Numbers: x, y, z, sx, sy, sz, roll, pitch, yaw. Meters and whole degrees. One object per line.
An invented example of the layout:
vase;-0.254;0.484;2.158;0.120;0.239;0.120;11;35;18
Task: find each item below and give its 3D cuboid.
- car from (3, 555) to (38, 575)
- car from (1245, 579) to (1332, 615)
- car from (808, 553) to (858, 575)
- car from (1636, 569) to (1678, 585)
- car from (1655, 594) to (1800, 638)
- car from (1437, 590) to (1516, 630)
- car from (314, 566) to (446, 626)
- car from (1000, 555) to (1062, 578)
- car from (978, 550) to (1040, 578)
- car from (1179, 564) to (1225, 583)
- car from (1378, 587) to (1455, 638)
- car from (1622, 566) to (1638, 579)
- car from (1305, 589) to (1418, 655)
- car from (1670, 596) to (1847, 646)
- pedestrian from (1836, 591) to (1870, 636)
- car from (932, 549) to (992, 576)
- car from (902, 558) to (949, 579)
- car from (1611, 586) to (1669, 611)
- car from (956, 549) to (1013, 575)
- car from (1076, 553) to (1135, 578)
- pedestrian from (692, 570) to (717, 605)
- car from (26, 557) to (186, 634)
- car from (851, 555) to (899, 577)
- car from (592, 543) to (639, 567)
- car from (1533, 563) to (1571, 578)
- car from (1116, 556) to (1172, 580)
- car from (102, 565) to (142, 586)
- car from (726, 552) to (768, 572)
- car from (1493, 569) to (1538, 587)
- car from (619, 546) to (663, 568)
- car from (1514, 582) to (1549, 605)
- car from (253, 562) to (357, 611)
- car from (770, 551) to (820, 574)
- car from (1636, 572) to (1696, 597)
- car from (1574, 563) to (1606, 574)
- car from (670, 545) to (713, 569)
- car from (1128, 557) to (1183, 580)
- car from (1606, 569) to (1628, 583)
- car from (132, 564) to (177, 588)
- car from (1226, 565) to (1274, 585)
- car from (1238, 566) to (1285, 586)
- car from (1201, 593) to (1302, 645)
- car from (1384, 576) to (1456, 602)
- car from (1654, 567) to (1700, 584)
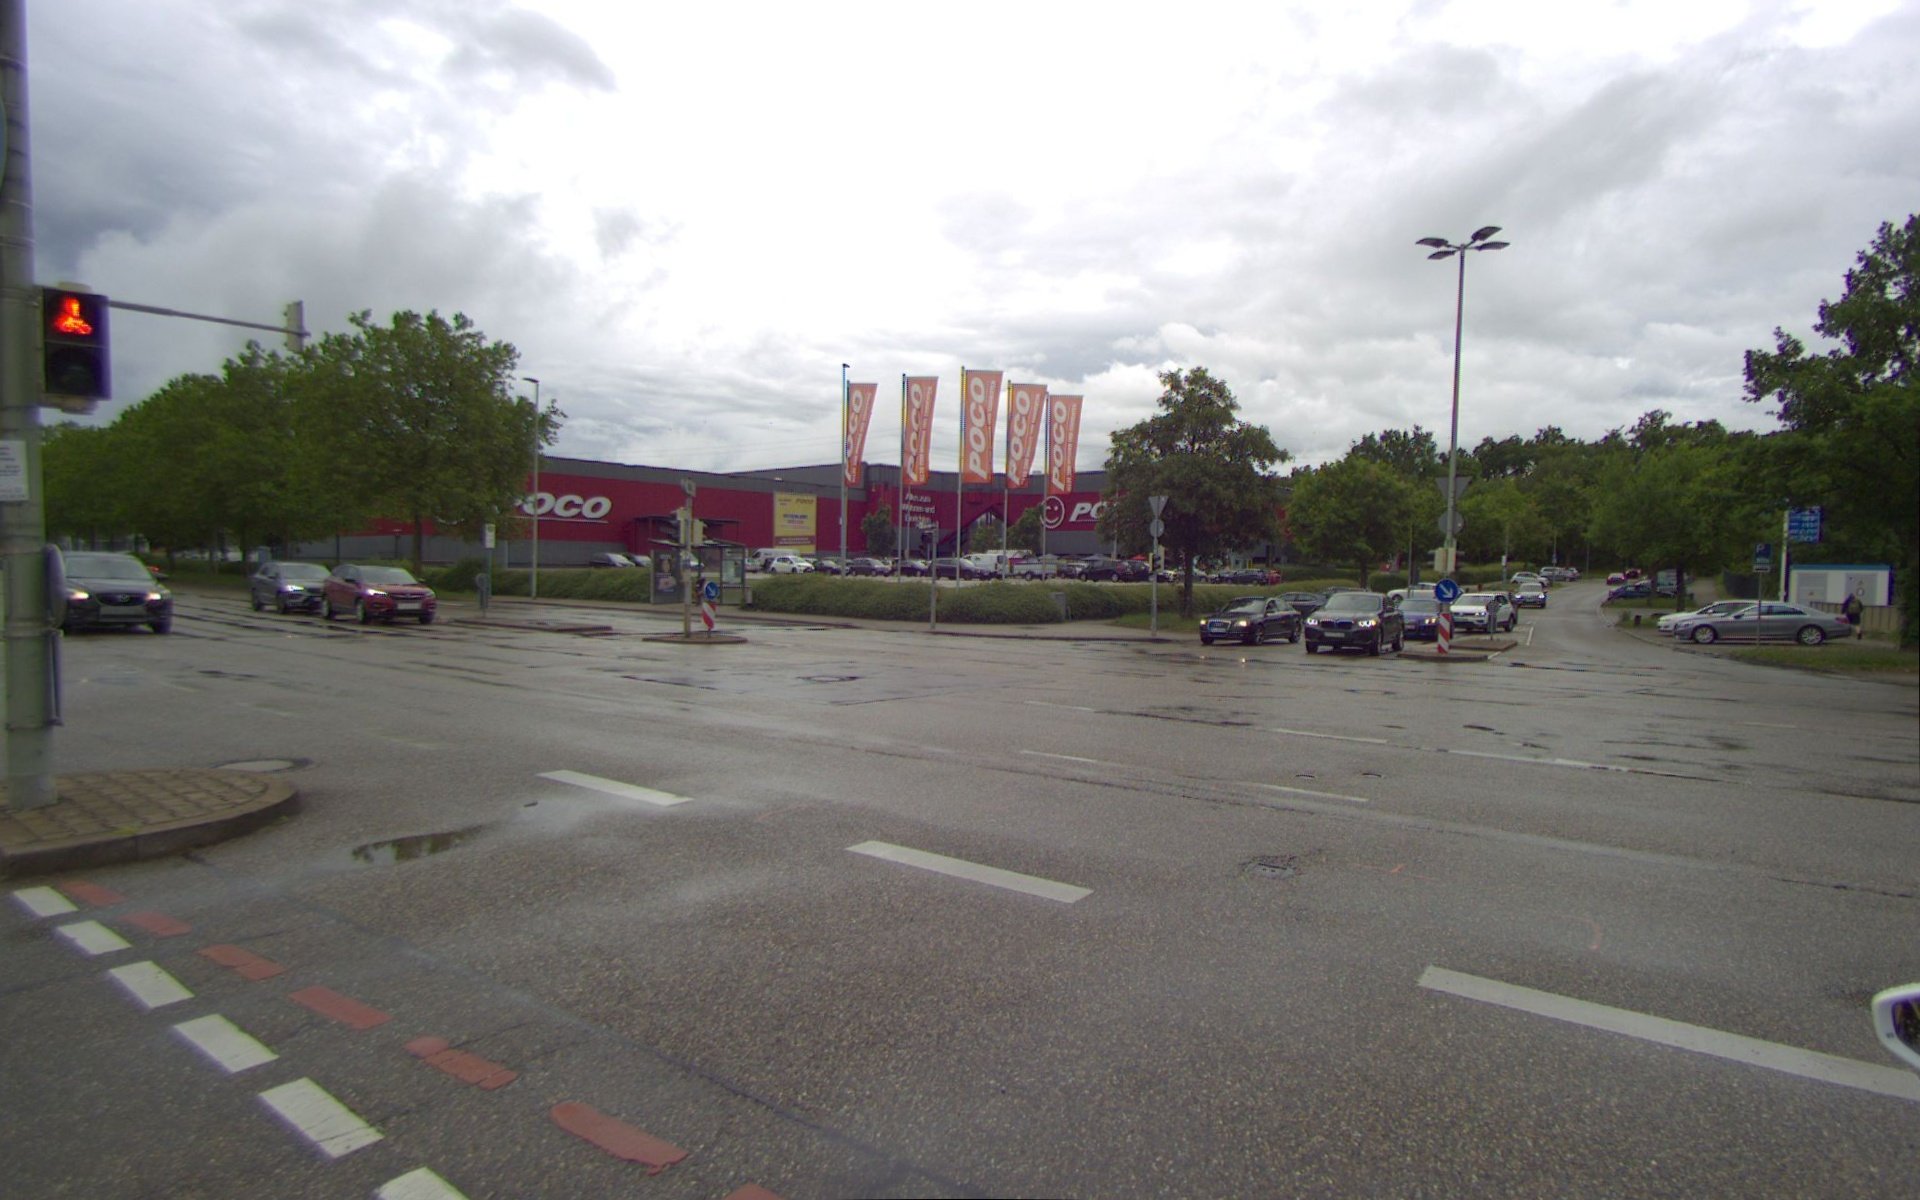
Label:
car;-83.700;-3.115;89.464;3.940;1.610;1.835;2;1;40
car;15.554;-0.162;47.631;3.598;1.574;1.680;2;1;33
car;-10.021;-2.833;79.038;3.904;1.667;1.664;2;1;41
car;81.042;-2.687;116.806;3.932;1.762;1.805;2;1;34
car;31.519;0.629;41.441;4.508;1.610;1.924;2;1;33
car;21.495;0.412;41.741;1.875;1.574;3.976;2;1;44
car;-16.255;-0.123;28.096;3.935;1.483;1.713;2;-1;36
car;4.688;-2.216;66.389;3.851;1.399;1.664;2;1;41
car;4.314;-3.209;89.259;5.563;2.334;1.817;2;1;41
car;22.319;-2.429;92.727;3.770;1.667;1.664;2;1;41
car;16.494;0.432;36.197;1.771;1.655;4.538;2;1;34
car;96.872;-4.010;145.171;1.780;1.762;3.988;2;1;34
car;10.977;0.548;27.272;1.870;1.574;4.577;2;1;35
car;28.974;0.727;36.699;4.817;1.569;1.995;2;1;33
pedestrian;34.014;0.510;38.280;0.797;1.684;0.884;2;1;34
car;0.142;-2.491;66.275;3.770;1.667;1.664;2;1;41
car;-2.996;-2.689;85.865;3.904;1.667;1.664;2;1;41
car;49.453;-0.116;73.070;3.413;1.676;1.611;3;2;35
car;1.670;-2.625;68.896;3.770;1.667;1.624;2;1;41
car;10.241;-2.474;70.937;3.770;1.667;1.664;2;1;41
pedestrian;-11.107;-0.540;43.636;0.631;1.450;0.778;2;0;36
car;-18.205;-0.130;21.365;3.935;1.483;1.749;2;1;36
car;-7.012;-2.783;82.568;3.904;1.667;1.664;2;1;41
car;-26.258;-3.429;76.548;3.904;1.667;1.689;2;1;41
car;75.293;-3.744;127.679;3.937;1.818;1.849;2;1;38
car;13.635;-2.411;74.583;3.770;1.667;1.664;2;1;41
car;-68.173;-2.033;81.690;3.940;1.610;1.835;2;1;40
car;-19.395;-3.450;91.403;3.904;1.667;1.689;2;1;41
car;57.128;-2.255;103.298;3.931;1.818;1.851;2;1;33
car;-26.552;-3.579;83.560;3.904;1.667;1.689;2;1;41
car;39.654;-0.448;69.700;1.675;1.475;3.659;2;1;37
car;-20.842;-0.444;31.925;3.644;1.415;1.691;3;2;38
car;-12.707;-2.906;77.320;3.904;1.667;1.664;2;1;41
car;54.553;-1.219;77.681;3.648;1.773;1.692;3;2;35
car;97.076;-4.828;154.761;3.937;1.550;1.798;2;1;38
car;-23.392;-3.739;87.562;3.692;1.951;1.784;2;1;39
car;14.990;-2.406;77.032;3.770;1.667;1.664;2;1;41
car;76.187;-2.749;116.447;1.785;1.502;3.735;2;1;38
car;-58.266;-1.733;72.613;3.940;1.610;1.835;2;1;40
car;25.818;-2.220;89.473;3.770;1.667;1.664;2;1;41
car;27.497;-2.197;91.685;3.770;1.667;1.664;2;1;41
car;9.044;0.554;30.971;1.759;1.423;3.986;2;1;36
car;31.641;-0.743;69.149;4.216;1.631;1.679;2;1;37
car;78.170;-2.666;109.569;3.932;1.762;1.805;2;1;34
